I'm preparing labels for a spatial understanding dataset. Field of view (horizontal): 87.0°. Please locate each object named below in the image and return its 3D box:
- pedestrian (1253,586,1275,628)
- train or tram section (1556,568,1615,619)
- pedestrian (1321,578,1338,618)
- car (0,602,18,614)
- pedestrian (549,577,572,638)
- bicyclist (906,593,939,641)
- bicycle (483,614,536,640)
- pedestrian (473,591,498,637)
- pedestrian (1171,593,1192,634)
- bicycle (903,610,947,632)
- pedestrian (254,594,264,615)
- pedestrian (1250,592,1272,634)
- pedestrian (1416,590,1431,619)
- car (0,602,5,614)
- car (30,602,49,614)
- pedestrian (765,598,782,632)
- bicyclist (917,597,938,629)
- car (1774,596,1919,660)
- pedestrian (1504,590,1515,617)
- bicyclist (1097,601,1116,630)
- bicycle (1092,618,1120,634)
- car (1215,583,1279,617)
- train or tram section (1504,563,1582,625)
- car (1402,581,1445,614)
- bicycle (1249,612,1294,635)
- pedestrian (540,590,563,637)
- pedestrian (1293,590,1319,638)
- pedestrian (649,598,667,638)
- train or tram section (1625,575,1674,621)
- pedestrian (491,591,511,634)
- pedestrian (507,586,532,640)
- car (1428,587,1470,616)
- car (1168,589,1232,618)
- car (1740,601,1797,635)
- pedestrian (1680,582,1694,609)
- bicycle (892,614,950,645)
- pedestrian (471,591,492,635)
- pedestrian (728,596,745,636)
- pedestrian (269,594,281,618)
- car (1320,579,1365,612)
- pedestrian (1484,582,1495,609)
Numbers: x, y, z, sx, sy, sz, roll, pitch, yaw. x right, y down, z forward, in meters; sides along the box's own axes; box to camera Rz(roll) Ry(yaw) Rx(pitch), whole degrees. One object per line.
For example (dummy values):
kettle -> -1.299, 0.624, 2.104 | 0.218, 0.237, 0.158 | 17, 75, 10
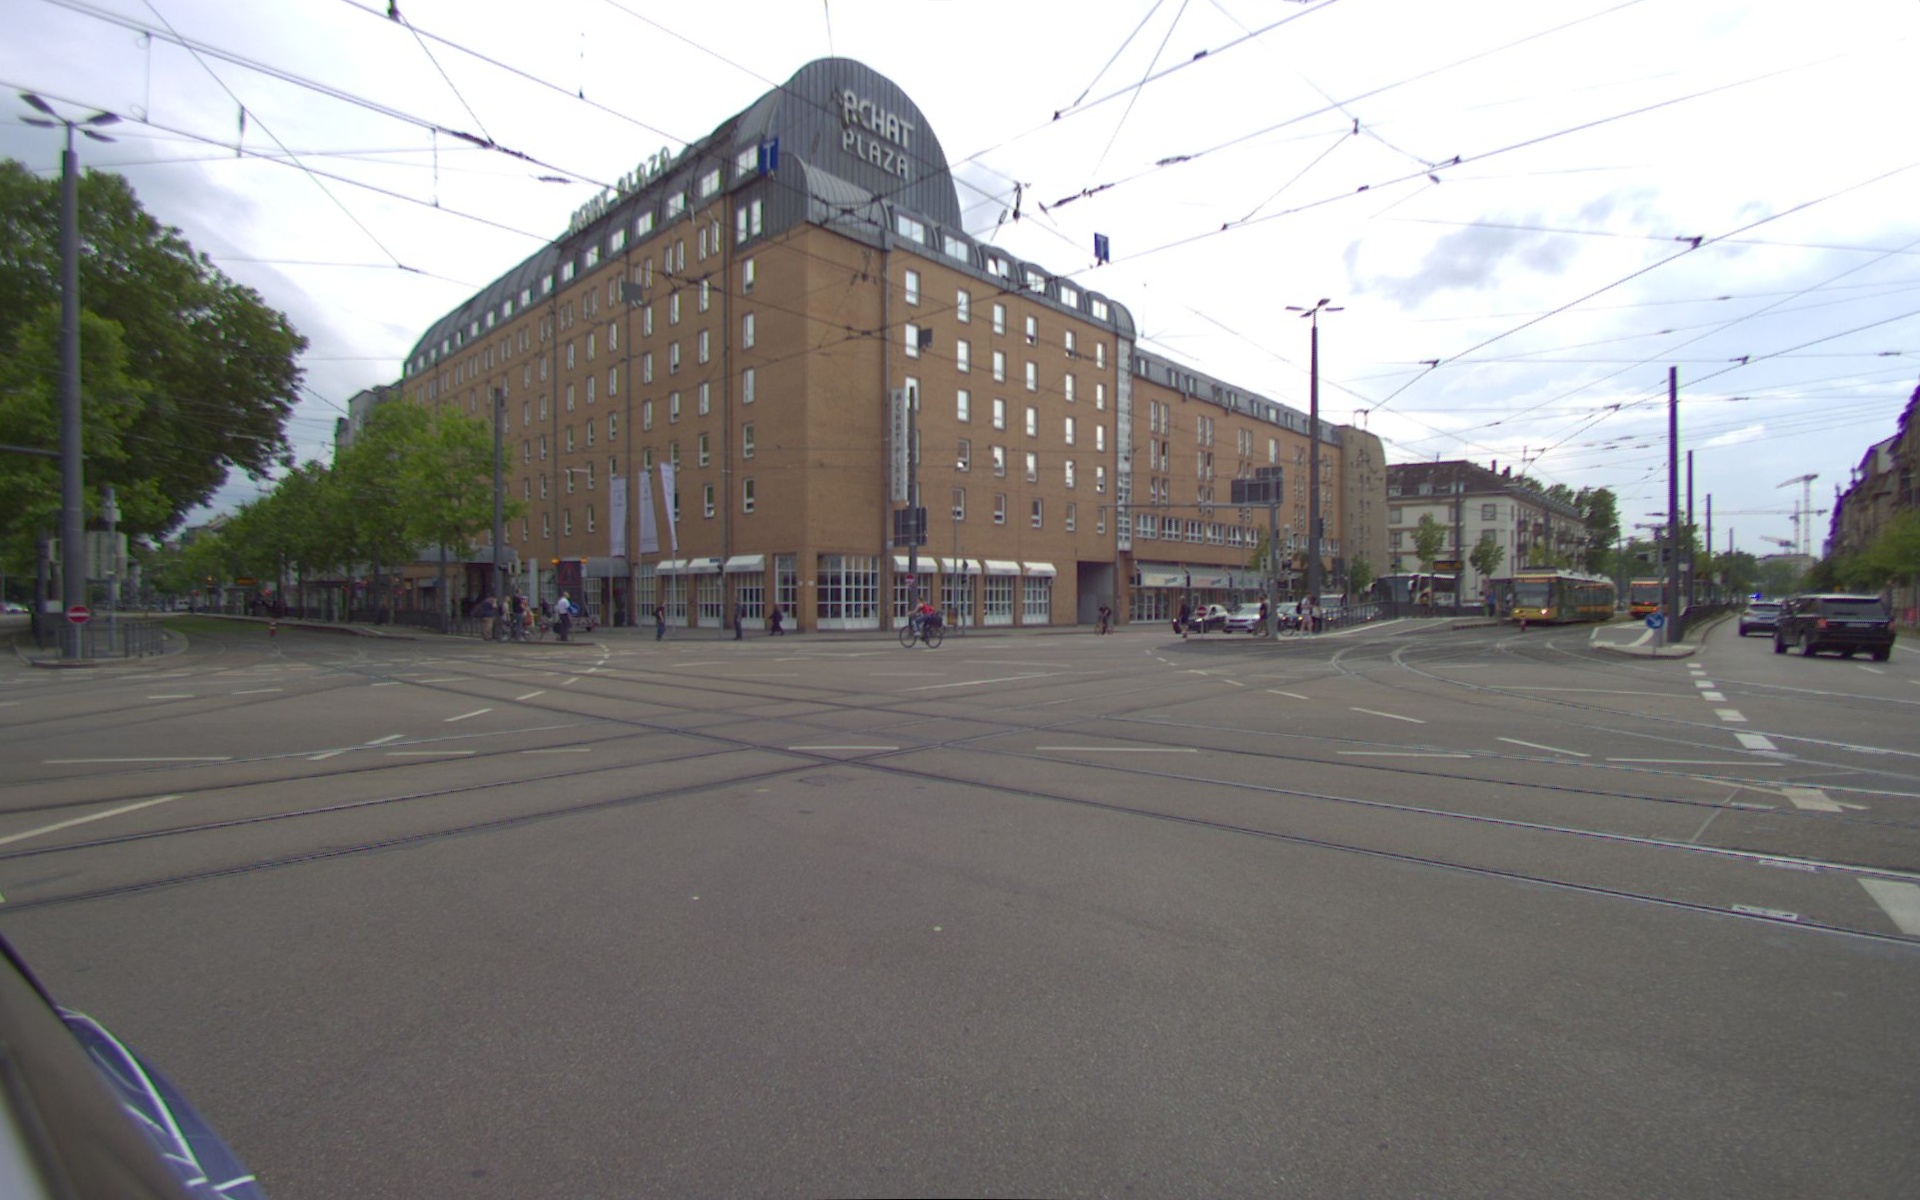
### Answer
pedestrian -> 12.752, 0.288, 42.451 | 0.749, 1.745, 0.571 | 0, 0, 35
train or tram section -> 45.562, -0.434, 73.592 | 2.575, 3.477, 8.578 | -1, 0, 39
pedestrian -> 16.028, -0.099, 43.929 | 0.576, 1.745, 0.625 | 0, 0, 31
car -> -143.426, 1.228, 152.548 | 3.997, 1.721, 1.647 | 1, 1, 40
pedestrian -> -14.271, 0.252, 36.127 | 0.533, 2.146, 0.557 | 0, 0, 33
bicyclist -> -1.203, 0.536, 32.320 | 0.816, 1.512, 0.643 | 0, 0, 37
bicycle -> -16.472, 0.974, 37.027 | 0.499, 0.895, 1.687 | 1, 1, 44
pedestrian -> -17.924, 0.505, 38.210 | 0.533, 1.719, 0.677 | 0, 0, 33
pedestrian -> 9.545, 0.577, 43.606 | 0.749, 1.745, 0.571 | 0, 0, 35
bicycle -> -1.680, 1.011, 48.797 | 2.041, 1.016, 0.637 | 0, 0, 16
pedestrian -> -58.665, 0.353, 84.715 | 0.639, 1.719, 0.625 | 0, 0, -41
pedestrian -> 12.464, 0.522, 41.880 | 0.749, 1.745, 0.571 | 0, 0, 35
pedestrian -> 24.777, 0.247, 54.095 | 0.654, 1.548, 0.486 | 0, 0, 36
car -> -147.772, 1.241, 155.024 | 3.997, 1.721, 1.647 | 1, 1, 40
car -> -140.803, 1.216, 154.739 | 3.997, 1.721, 1.647 | 1, 1, 40
pedestrian -> -8.542, 0.688, 46.259 | 0.642, 1.518, 0.534 | 0, 0, 7
bicyclist -> -1.584, 0.621, 48.772 | 0.858, 1.512, 0.633 | 0, 0, 16
car -> 24.799, 0.718, 28.478 | 1.923, 1.620, 4.493 | 0, 1, 25
pedestrian -> 35.732, 0.194, 65.809 | 0.492, 1.745, 0.537 | 0, 0, 38
bicyclist -> 7.648, 0.790, 52.813 | 0.636, 1.512, 0.854 | 0, 0, 39
bicycle -> 7.607, 1.351, 52.820 | 0.639, 0.787, 1.773 | 1, 1, 39
car -> 14.853, -0.015, 52.333 | 1.798, 1.696, 3.948 | 1, 1, 39
train or tram section -> 35.122, -0.344, 60.796 | 2.575, 3.477, 9.481 | -1, 0, 39
car -> 33.786, -0.172, 73.758 | 1.700, 2.337, 5.018 | -1, 0, 38
bicycle -> 13.189, 0.995, 42.896 | 1.790, 0.895, 0.474 | 1, 1, 40
pedestrian -> -14.931, 0.480, 37.022 | 0.577, 1.719, 0.557 | 0, 0, 33
pedestrian -> 12.835, 0.503, 37.532 | 0.750, 1.745, 0.571 | 0, 0, 40
pedestrian -> -13.193, 0.769, 44.183 | 0.535, 1.719, 0.556 | 1, 0, 44
train or tram section -> 55.714, -0.152, 81.663 | 2.449, 3.477, 9.481 | 0, 0, 39
pedestrian -> -18.652, 0.508, 41.154 | 0.533, 1.719, 0.557 | 0, 0, 33
pedestrian -> -16.032, 0.468, 36.848 | 0.534, 1.966, 0.684 | 0, 0, 40
car -> 38.804, 0.130, 80.279 | 1.998, 2.183, 4.511 | -1, 0, 39
car -> 12.754, 0.155, 53.639 | 1.798, 1.490, 3.948 | 0, 0, 39
car -> 36.335, 0.766, 45.506 | 1.932, 1.442, 4.247 | 1, 1, 39
pedestrian -> 54.639, -0.361, 76.032 | 0.779, 2.029, 1.213 | 0, 0, 40
bicycle -> -1.246, 0.930, 32.349 | 1.890, 0.943, 0.651 | 1, 1, 38
pedestrian -> -18.895, 0.522, 39.930 | 0.533, 1.719, 0.557 | 0, 0, 33
pedestrian -> -9.709, 0.691, 43.969 | 0.535, 1.719, 0.556 | 1, 0, 42
pedestrian -> -50.064, 0.443, 74.000 | 0.639, 1.719, 0.625 | 0, 0, -43
car -> 27.234, -0.336, 71.979 | 1.700, 2.247, 4.773 | 1, 1, 38
pedestrian -> 34.022, -0.269, 65.028 | 0.542, 1.745, 0.487 | 0, 0, 32
